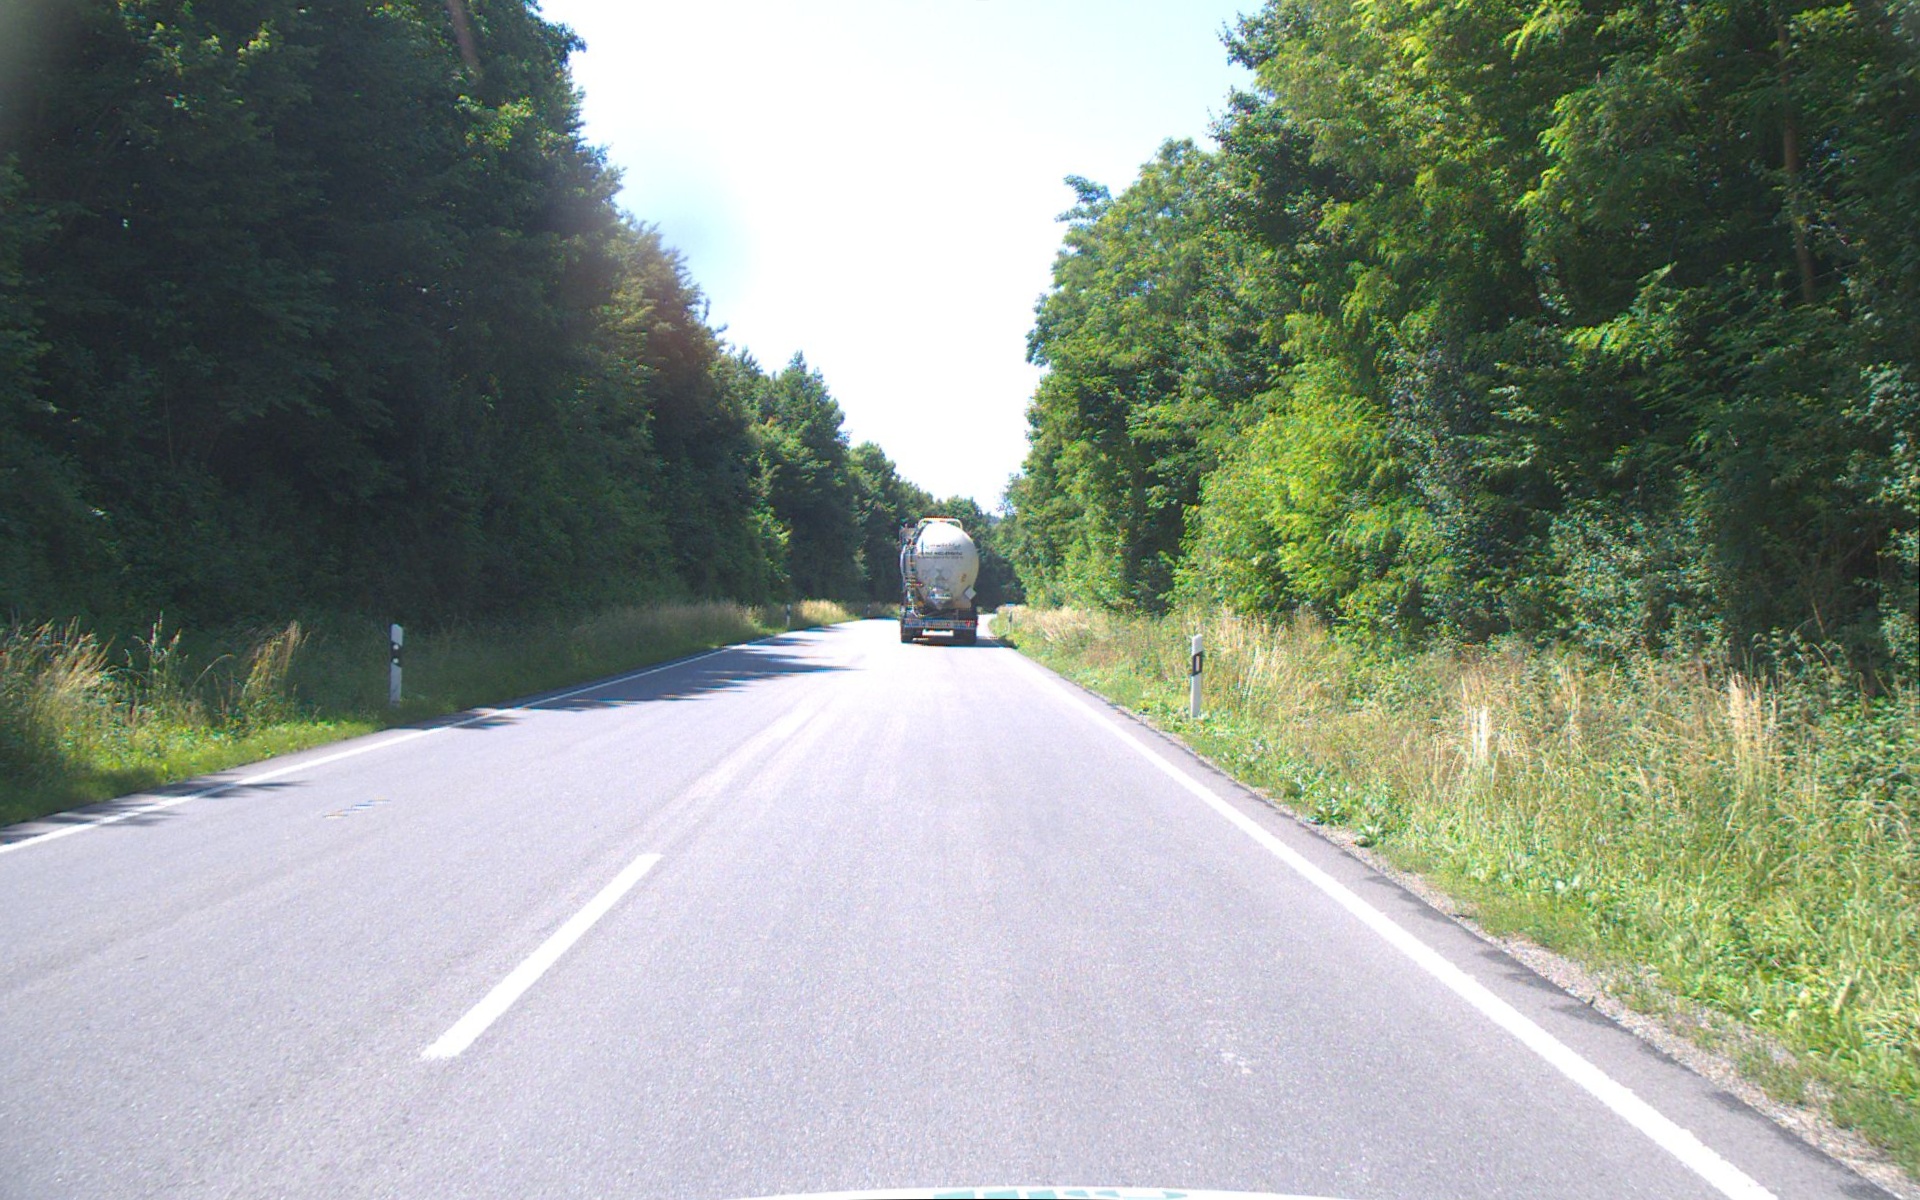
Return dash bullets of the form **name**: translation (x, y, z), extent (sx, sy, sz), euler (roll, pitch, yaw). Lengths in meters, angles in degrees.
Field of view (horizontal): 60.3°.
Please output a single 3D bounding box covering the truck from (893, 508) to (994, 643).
- **truck**: translation (-0.655, -0.754, 59.021), extent (2.987, 4.068, 15.632), euler (2, 0, -1)
